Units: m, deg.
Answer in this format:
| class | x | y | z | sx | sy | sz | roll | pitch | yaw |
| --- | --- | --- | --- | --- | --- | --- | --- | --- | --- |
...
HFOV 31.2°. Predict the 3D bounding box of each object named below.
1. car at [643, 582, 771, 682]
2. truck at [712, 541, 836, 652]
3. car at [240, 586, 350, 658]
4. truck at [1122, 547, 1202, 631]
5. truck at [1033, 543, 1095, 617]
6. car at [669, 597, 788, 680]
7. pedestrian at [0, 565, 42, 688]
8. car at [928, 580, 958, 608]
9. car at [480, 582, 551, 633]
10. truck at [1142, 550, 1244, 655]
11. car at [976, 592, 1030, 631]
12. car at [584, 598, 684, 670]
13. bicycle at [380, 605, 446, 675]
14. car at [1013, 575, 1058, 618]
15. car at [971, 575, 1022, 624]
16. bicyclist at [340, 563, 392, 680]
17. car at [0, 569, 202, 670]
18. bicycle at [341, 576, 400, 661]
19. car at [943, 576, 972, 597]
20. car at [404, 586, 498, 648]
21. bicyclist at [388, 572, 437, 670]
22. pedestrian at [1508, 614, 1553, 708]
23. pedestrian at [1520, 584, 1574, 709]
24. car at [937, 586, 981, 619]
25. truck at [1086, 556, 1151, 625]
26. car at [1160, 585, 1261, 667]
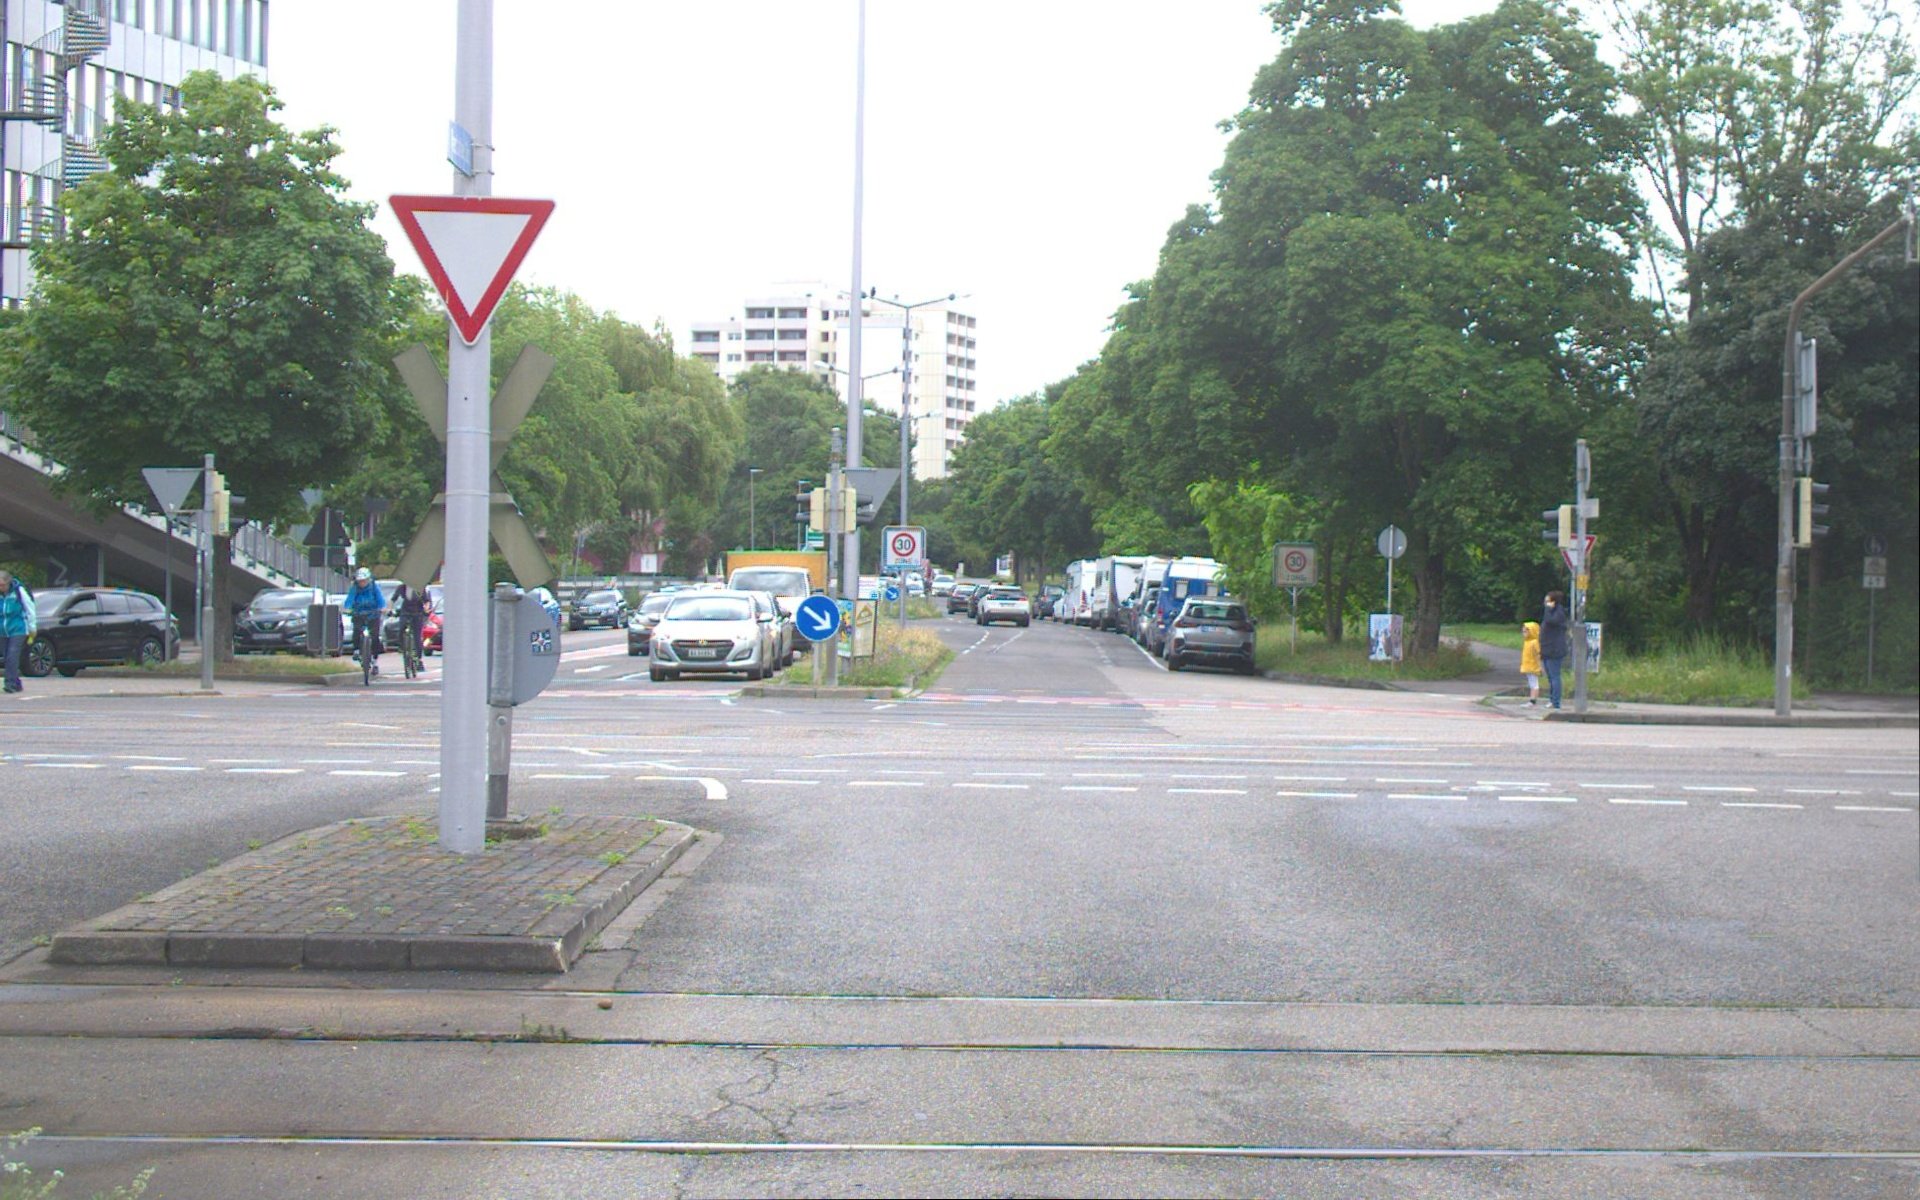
| class | x | y | z | sx | sy | sz | roll | pitch | yaw |
| --- | --- | --- | --- | --- | --- | --- | --- | --- | --- |
| car | -4.071 | 0.492 | 55.917 | 1.789 | 1.514 | 4.326 | 1 | 0 | -1 |
| truck | -3.831 | -0.094 | 71.722 | 2.155 | 2.191 | 5.840 | 1 | 0 | 1 |
| car | -14.919 | 0.470 | 77.275 | 1.671 | 1.547 | 3.892 | 1 | 0 | 0 |
| truck | 7.004 | -0.391 | 119.725 | 1.993 | 2.828 | 5.732 | 1 | 0 | -4 |
| truck | 4.271 | -0.808 | 142.589 | 1.993 | 2.999 | 5.772 | 1 | 0 | -4 |
| car | -4.289 | 0.690 | 64.248 | 1.897 | 1.415 | 4.736 | 1 | 0 | 0 |
| pedestrian | -12.425 | 0.340 | 45.014 | 0.687 | 1.599 | 0.488 | 1 | 0 | -5 |
| car | -0.971 | -0.357 | 189.649 | 1.554 | 1.500 | 4.000 | 1 | 0 | -1 |
| car | -13.995 | 0.228 | 108.422 | 1.671 | 1.547 | 4.000 | 1 | 0 | 0 |
| truck | 6.078 | 0.076 | 90.374 | 2.174 | 2.647 | 6.246 | 0 | 0 | -1 |
| car | 1.699 | 0.443 | 136.584 | 2.020 | 1.500 | 4.000 | 1 | 0 | -1 |
| car | -7.106 | 0.719 | 75.205 | 1.770 | 1.472 | 4.390 | 1 | 0 | 0 |
| bicycle | -8.980 | 0.650 | 56.474 | 0.726 | 1.097 | 2.264 | 1 | 0 | -1 |
| car | 3.451 | -0.167 | 158.438 | 1.651 | 1.912 | 3.919 | 1 | 1 | -4 |
| car | 1.505 | -0.027 | 143.218 | 2.020 | 1.952 | 4.000 | 1 | 0 | -1 |
| bicyclist | -9.004 | 0.323 | 52.111 | 0.644 | 1.762 | 0.647 | 1 | 0 | -1 |
| car | -14.055 | 0.291 | 55.945 | 1.673 | 1.547 | 3.997 | 1 | 0 | 15 |
| bicycle | -8.989 | 0.272 | 52.457 | 0.543 | 1.263 | 2.111 | 1 | 0 | -1 |
| car | -0.165 | -0.976 | 246.603 | 2.020 | 1.500 | 4.000 | 1 | 0 | -1 |
| car | -11.830 | 0.394 | 80.073 | 1.512 | 1.385 | 3.532 | 1 | 0 | 2 |
| bicyclist | -8.973 | 0.346 | 56.365 | 0.679 | 1.589 | 0.695 | 1 | 0 | -1 |
| pedestrian | 8.199 | 0.875 | 49.446 | 0.527 | 1.337 | 0.525 | 1 | 0 | -1 |
| pedestrian | 8.329 | 0.657 | 48.814 | 0.657 | 1.744 | 0.459 | 1 | 0 | -1 |
| car | -0.052 | 0.117 | 163.577 | 2.020 | 1.500 | 4.000 | 1 | 0 | -1 |
| truck | 6.056 | -0.349 | 131.797 | 1.993 | 2.564 | 5.379 | 1 | 0 | -2 |
| car | 5.335 | 0.532 | 73.575 | 1.784 | 1.656 | 4.000 | 1 | 0 | -1 |
